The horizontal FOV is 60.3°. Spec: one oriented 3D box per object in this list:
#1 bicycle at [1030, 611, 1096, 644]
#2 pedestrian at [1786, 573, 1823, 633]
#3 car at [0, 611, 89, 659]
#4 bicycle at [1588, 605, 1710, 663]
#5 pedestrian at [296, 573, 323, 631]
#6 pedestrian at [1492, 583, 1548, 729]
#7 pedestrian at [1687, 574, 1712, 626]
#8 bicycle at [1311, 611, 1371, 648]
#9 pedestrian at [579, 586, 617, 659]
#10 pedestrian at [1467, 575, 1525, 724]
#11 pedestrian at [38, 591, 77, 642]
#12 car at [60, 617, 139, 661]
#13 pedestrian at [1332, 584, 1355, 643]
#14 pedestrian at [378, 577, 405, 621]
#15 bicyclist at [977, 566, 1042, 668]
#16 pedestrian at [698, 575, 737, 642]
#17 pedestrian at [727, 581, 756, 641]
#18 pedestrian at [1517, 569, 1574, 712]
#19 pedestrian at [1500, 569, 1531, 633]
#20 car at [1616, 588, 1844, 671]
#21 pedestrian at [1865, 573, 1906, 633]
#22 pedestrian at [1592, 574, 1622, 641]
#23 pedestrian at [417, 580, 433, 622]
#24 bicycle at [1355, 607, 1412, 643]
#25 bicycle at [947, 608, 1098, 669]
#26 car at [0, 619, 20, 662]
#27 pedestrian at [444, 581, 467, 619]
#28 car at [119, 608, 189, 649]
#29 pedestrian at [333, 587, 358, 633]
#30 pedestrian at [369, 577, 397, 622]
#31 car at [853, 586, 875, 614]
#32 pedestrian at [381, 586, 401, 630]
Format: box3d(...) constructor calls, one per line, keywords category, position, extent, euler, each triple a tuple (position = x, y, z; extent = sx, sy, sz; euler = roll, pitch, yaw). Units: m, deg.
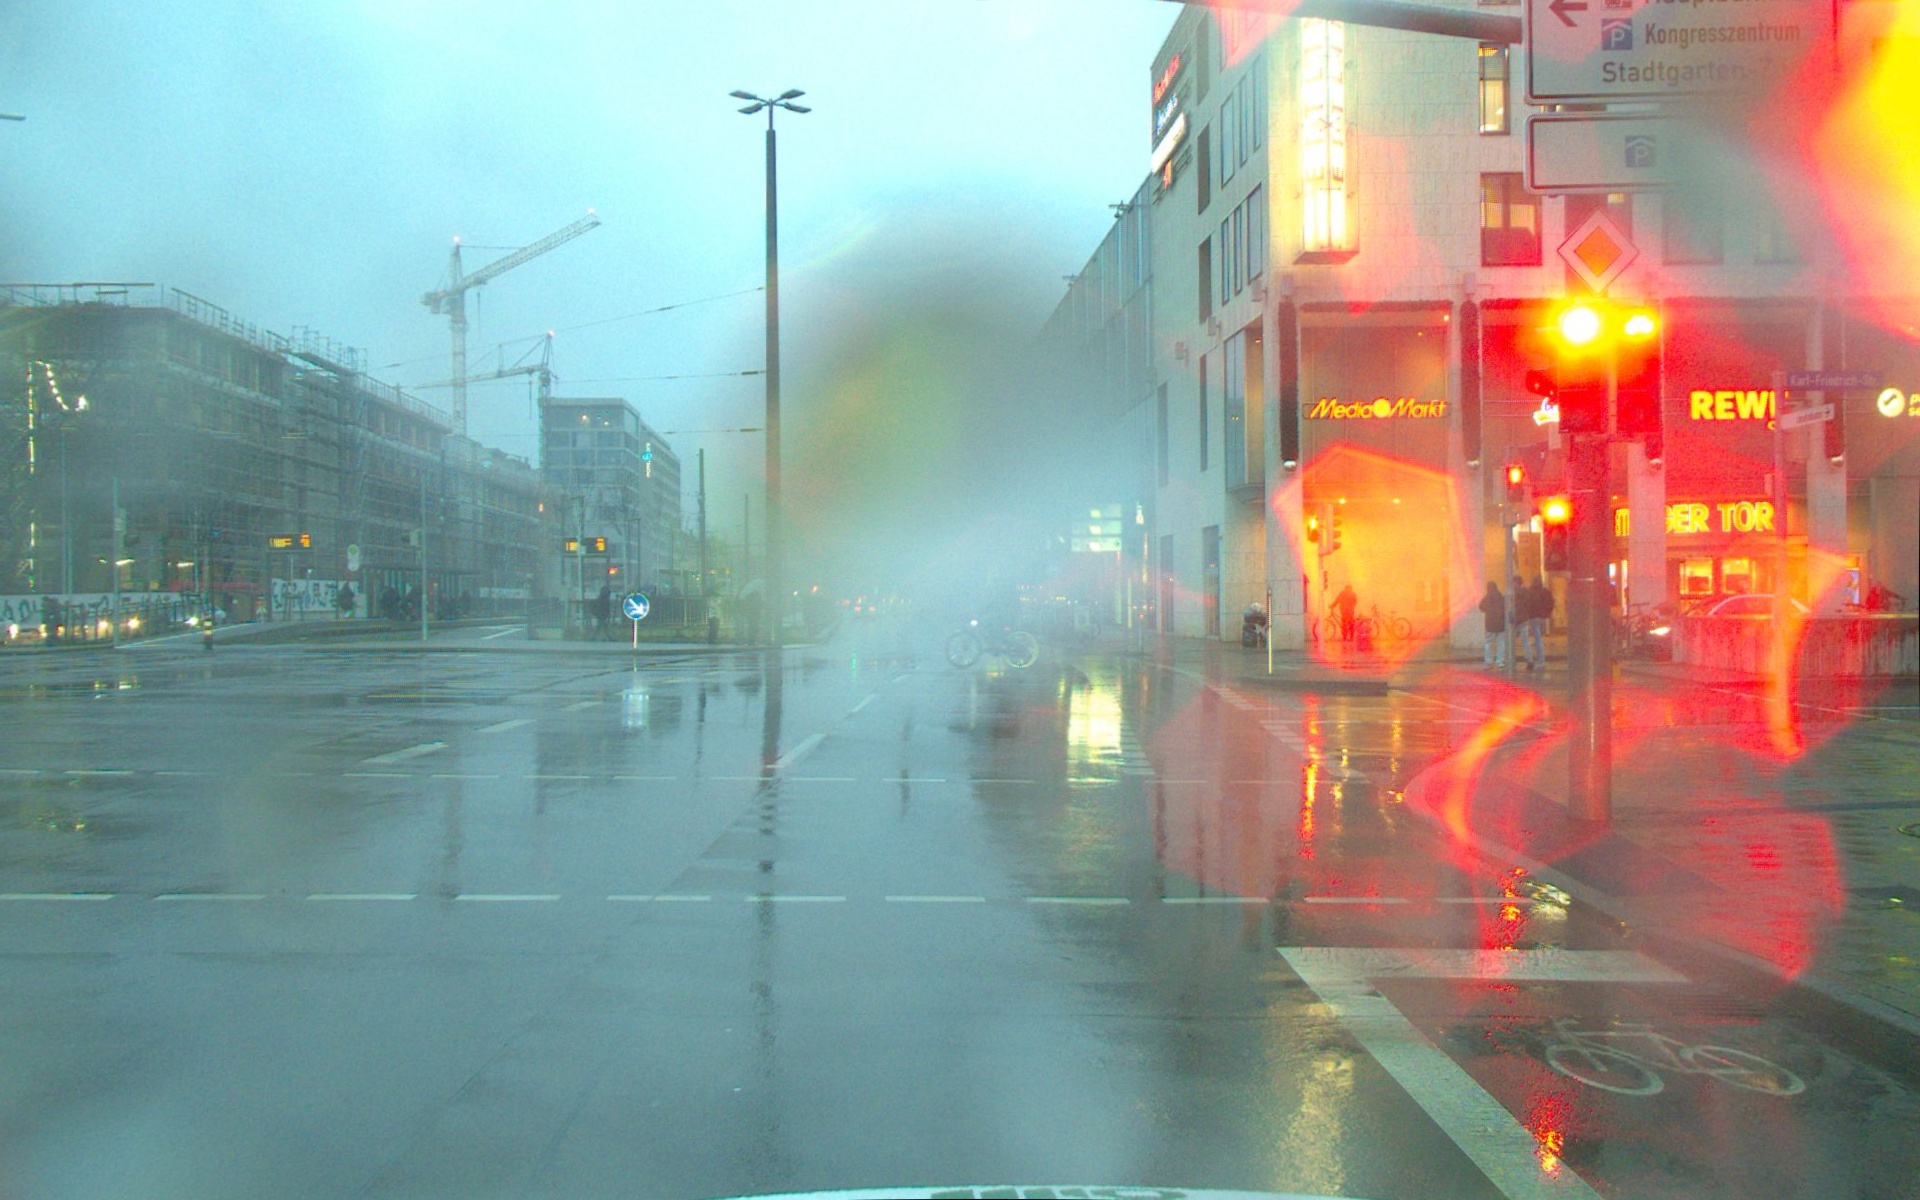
box3d(category="bicycle", position=(3.824, 1.012, 61.575), extent=(2.393, 1.174, 0.674), euler=(-1, -1, -2))
box3d(category="pedestrian", position=(24.711, 0.084, 48.408), extent=(0.726, 1.713, 0.782), euler=(1, -1, 5))
box3d(category="car", position=(-37.047, 1.396, 66.993), extent=(1.830, 1.860, 3.993), euler=(1, 0, -8))
box3d(category="bicycle", position=(17.203, 0.838, 41.351), extent=(2.659, 1.383, 0.957), euler=(-1, -1, -4))
box3d(category="pedestrian", position=(-26.887, 0.105, 68.400), extent=(0.750, 2.364, 0.762), euler=(1, -2, -1))
box3d(category="pedestrian", position=(9.686, 0.960, 28.645), extent=(0.675, 2.484, 0.758), euler=(1, -1, -1))
box3d(category="pedestrian", position=(25.167, -0.008, 56.310), extent=(0.721, 1.748, 0.738), euler=(-1, -1, 27))
box3d(category="bicycle", position=(11.632, 0.889, 50.477), extent=(1.729, 1.088, 0.525), euler=(1, -1, 7))
box3d(category="pedestrian", position=(-10.329, 0.631, 47.189), extent=(0.771, 2.049, 0.724), euler=(0, -1, 41))
box3d(category="pedestrian", position=(9.121, 0.832, 28.168), extent=(0.700, 2.484, 0.758), euler=(1, -1, -1))
box3d(category="pedestrian", position=(-25.381, 0.469, 46.541), extent=(0.714, 1.413, 0.723), euler=(1, -1, -7))
box3d(category="car", position=(-37.840, 1.699, 72.842), extent=(1.958, 1.822, 3.989), euler=(1, 0, -11))
box3d(category="pedestrian", position=(11.563, 0.406, 49.900), extent=(0.587, 1.775, 0.525), euler=(1, -1, 7))
box3d(category="pedestrian", position=(-26.947, -0.031, 78.414), extent=(0.923, 2.049, 1.093), euler=(1, -1, -3))
box3d(category="bicyclist", position=(0.936, 0.330, 31.531), extent=(1.133, 1.904, 0.745), euler=(1, -1, -4))
box3d(category="pedestrian", position=(-6.807, 0.245, 46.366), extent=(0.813, 1.863, 0.777), euler=(1, -1, -31))
box3d(category="pedestrian", position=(-6.326, 0.327, 47.893), extent=(0.601, 1.715, 0.575), euler=(0, -1, 41))
box3d(category="pedestrian", position=(10.354, 0.703, 29.259), extent=(0.679, 2.491, 0.791), euler=(1, -1, -1))
box3d(category="pedestrian", position=(17.874, 0.042, 53.242), extent=(0.828, 2.049, 0.698), euler=(-1, 0, 8))
box3d(category="car", position=(16.266, 0.607, 35.070), extent=(3.905, 1.646, 2.000), euler=(1, 0, 0))
box3d(category="pedestrian", position=(26.873, 0.100, 48.040), extent=(0.875, 1.714, 0.528), euler=(-1, -1, -1))
box3d(category="pedestrian", position=(19.991, 0.222, 51.118), extent=(0.775, 2.049, 0.593), euler=(-1, -1, 18))
box3d(category="pedestrian", position=(-26.027, 0.063, 80.446), extent=(0.559, 2.002, 0.664), euler=(2, -1, -7))
box3d(category="bicycle", position=(13.048, 0.777, 50.991), extent=(1.614, 1.088, 0.524), euler=(1, -1, -5))
box3d(category="bicycle", position=(1.183, 0.731, 31.559), extent=(2.800, 1.118, 0.745), euler=(1, 0, -5))
box3d(category="car", position=(-36.405, 1.515, 60.535), extent=(2.038, 1.557, 4.604), euler=(-1, 0, -10))
box3d(category="pedestrian", position=(-27.745, 0.009, 90.986), extent=(0.923, 2.049, 1.093), euler=(1, -1, -3))
box3d(category="car", position=(-38.150, 1.324, 78.362), extent=(1.958, 1.822, 3.989), euler=(1, 0, -11))
box3d(category="pedestrian", position=(-26.010, 0.441, 70.007), extent=(0.750, 1.931, 0.762), euler=(1, -2, -1))
box3d(category="pedestrian", position=(-26.757, -0.035, 76.707), extent=(0.923, 2.049, 1.093), euler=(1, -1, -3))
box3d(category="car", position=(-7.238, 0.023, 124.952), extent=(1.546, 2.049, 3.169), euler=(-1, 0, -3))
box3d(category="pedestrian", position=(-25.137, 0.338, 73.069), extent=(0.684, 1.913, 0.553), euler=(1, -1, -2))
